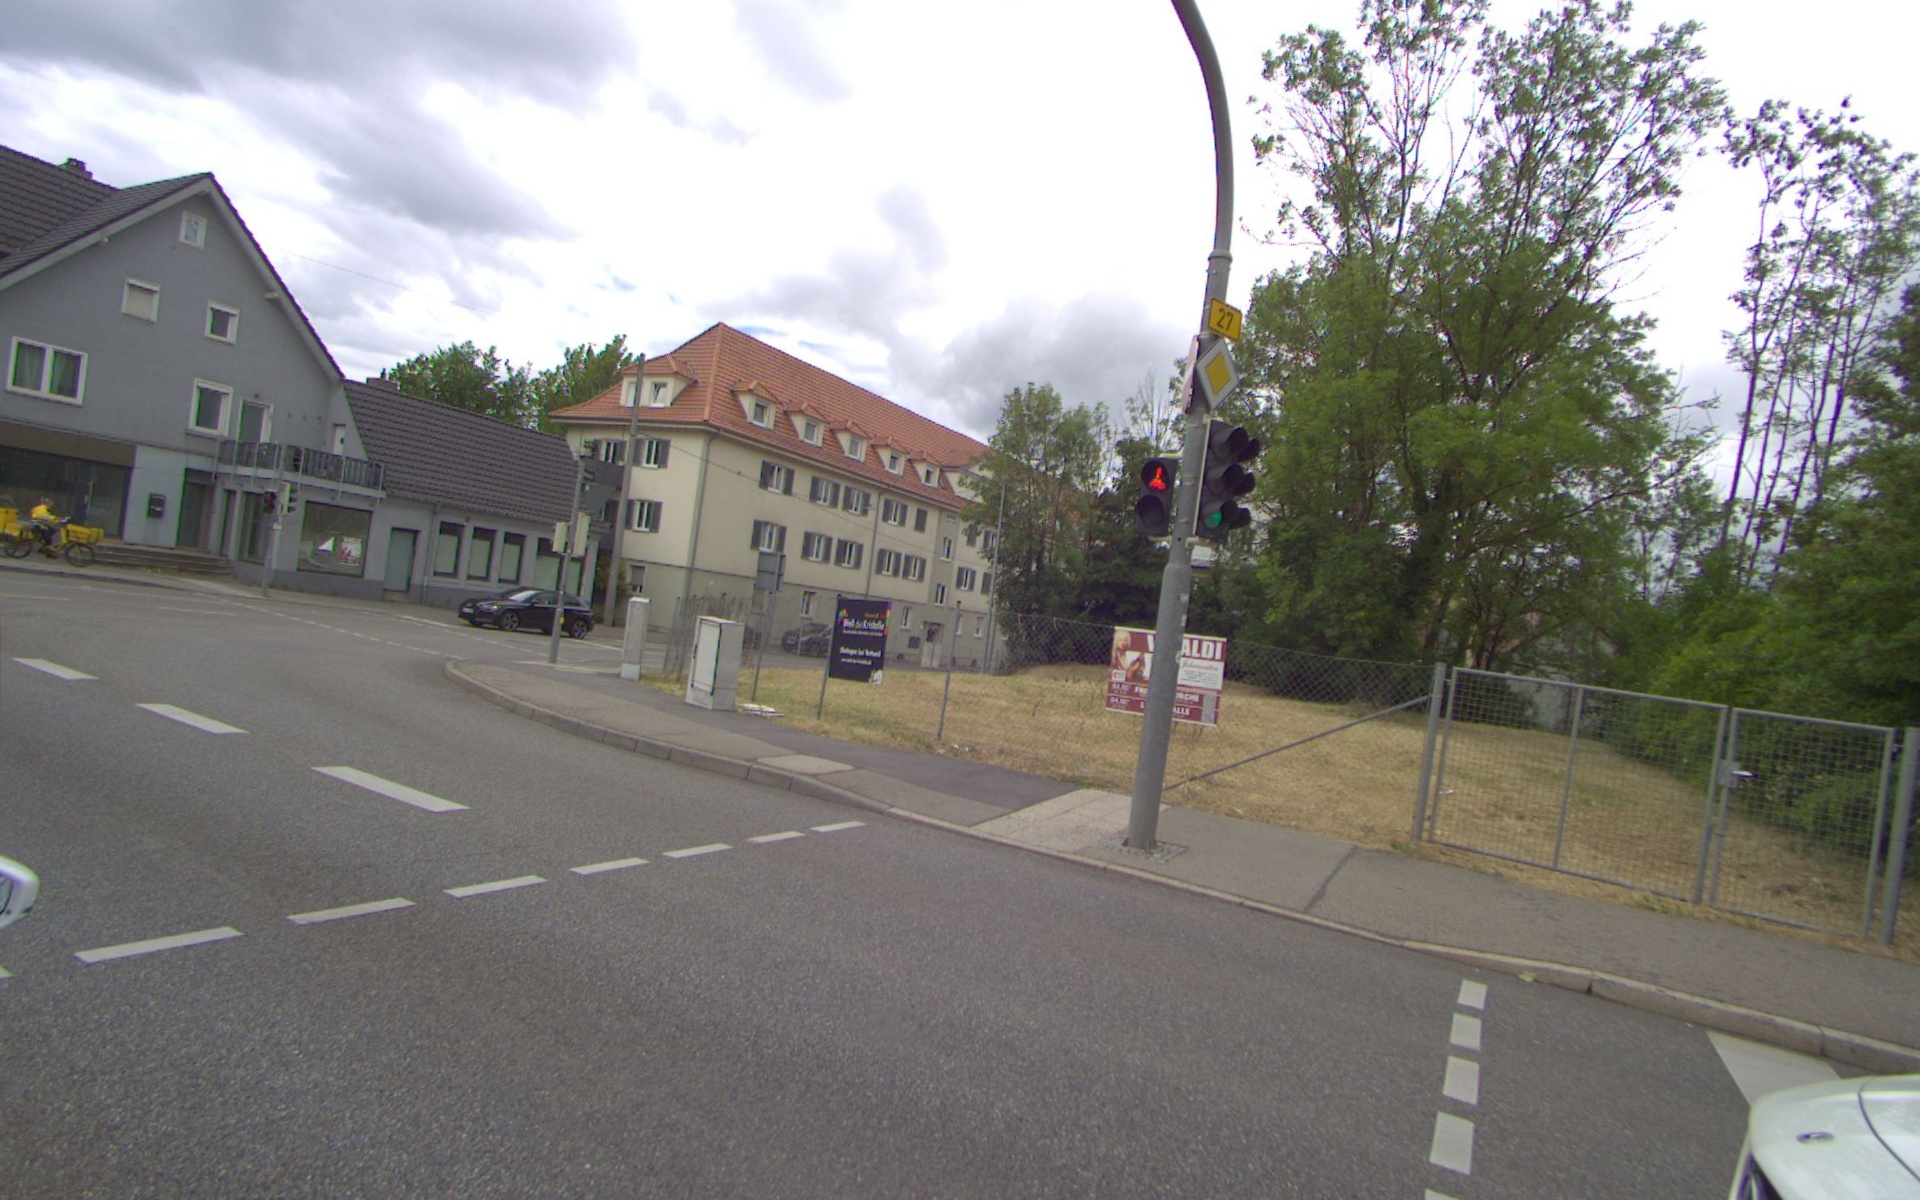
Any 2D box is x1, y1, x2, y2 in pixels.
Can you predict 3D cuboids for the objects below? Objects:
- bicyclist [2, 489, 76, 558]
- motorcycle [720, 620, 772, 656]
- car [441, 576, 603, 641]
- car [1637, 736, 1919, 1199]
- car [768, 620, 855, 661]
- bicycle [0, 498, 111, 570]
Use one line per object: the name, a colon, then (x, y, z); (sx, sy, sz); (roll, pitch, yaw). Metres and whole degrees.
bicyclist: (-23.967, -1.974, 26.208); (0.924, 1.617, 0.960); (8, -1, -15)
motorcycle: (-9.561, 1.721, 45.023); (0.674, 1.331, 2.310); (9, -1, 32)
car: (-13.835, 0.318, 32.031); (1.875, 1.437, 4.354); (6, -3, 30)
car: (3.393, 1.240, 0.745); (4.622, 1.490, 1.796); (6, -1, 32)
car: (-7.224, 2.018, 49.377); (1.966, 1.480, 4.088); (8, -2, 30)
bicycle: (-24.041, -1.740, 26.171); (2.649, 1.526, 0.959); (9, -1, -21)
